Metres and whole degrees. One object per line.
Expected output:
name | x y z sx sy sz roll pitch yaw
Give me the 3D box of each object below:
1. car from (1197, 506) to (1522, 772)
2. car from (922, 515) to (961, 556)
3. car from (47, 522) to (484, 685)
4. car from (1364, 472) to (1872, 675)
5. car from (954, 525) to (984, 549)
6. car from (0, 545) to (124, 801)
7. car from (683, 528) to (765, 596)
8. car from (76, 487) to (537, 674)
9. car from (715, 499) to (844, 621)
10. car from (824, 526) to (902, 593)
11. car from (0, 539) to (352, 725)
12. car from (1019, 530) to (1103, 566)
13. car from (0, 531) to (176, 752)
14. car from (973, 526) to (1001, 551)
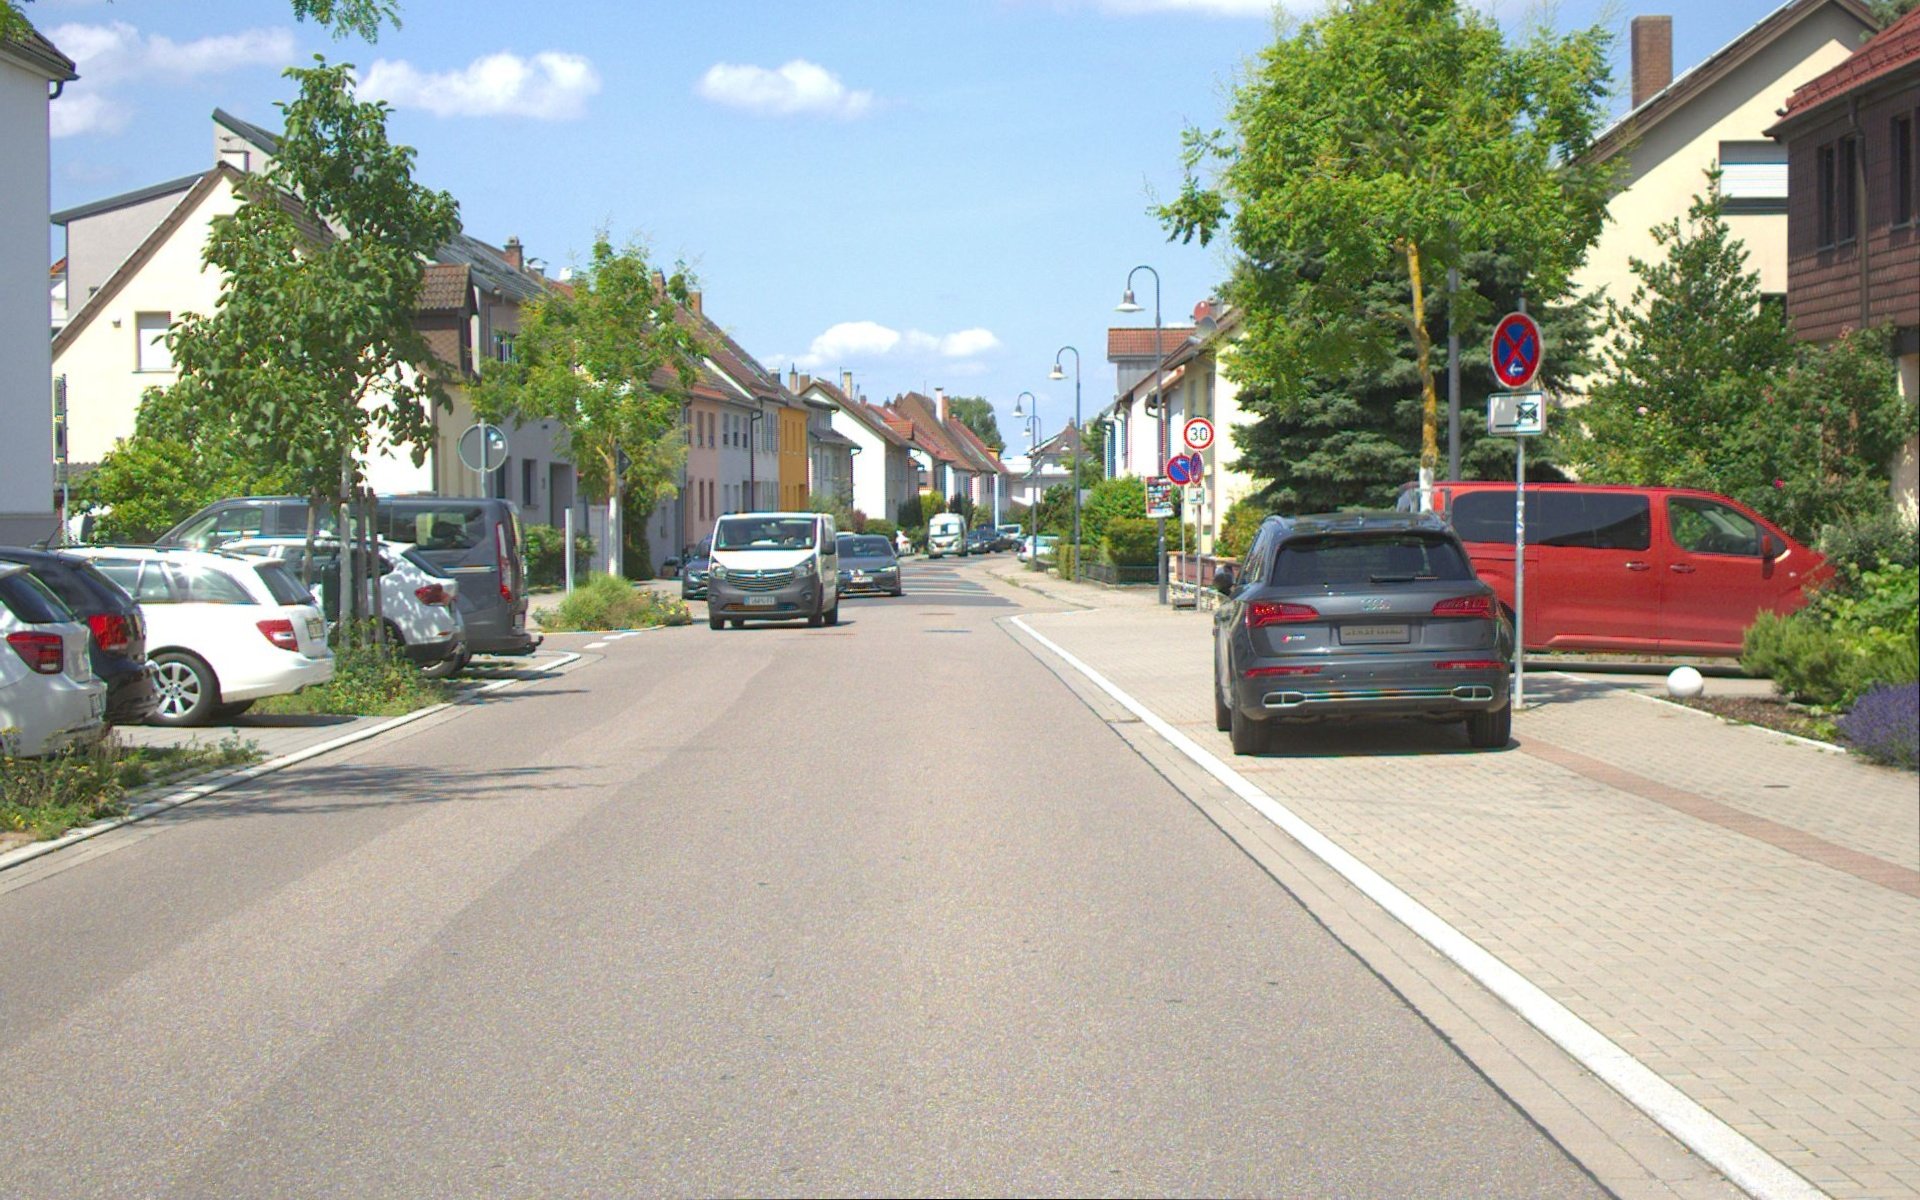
car | 2.747 0.197 24.563 1.864 1.630 4.446 -3 2 2
car | -1.085 -3.793 201.827 2.045 2.304 3.771 1 0 3
car | -7.079 0.030 35.347 4.182 1.563 1.774 1 0 -4
car | 6.496 -0.261 34.287 4.618 1.887 2.021 1 0 -1
car | 0.578 -4.084 223.962 1.691 1.498 3.771 1 0 3
car | -7.144 0.397 20.450 4.071 1.463 1.754 1 1 -9
car | -5.685 -0.938 83.161 1.816 1.428 4.140 3 2 -3
car | -7.158 -0.219 37.988 4.700 1.916 1.938 1 0 0
car | -3.002 -0.668 57.959 2.022 1.943 4.899 -1 1 -1
car | -2.314 -0.981 81.987 1.762 1.517 4.049 -2 1 -1
car | -7.357 0.241 28.468 4.295 1.463 1.774 1 0 1
car | 4.339 -2.235 147.905 3.523 1.459 1.628 1 0 0
car | -7.399 0.256 23.430 3.878 1.463 1.659 1 0 -9
car | 1.840 -4.130 231.434 1.691 1.654 3.771 1 0 3
